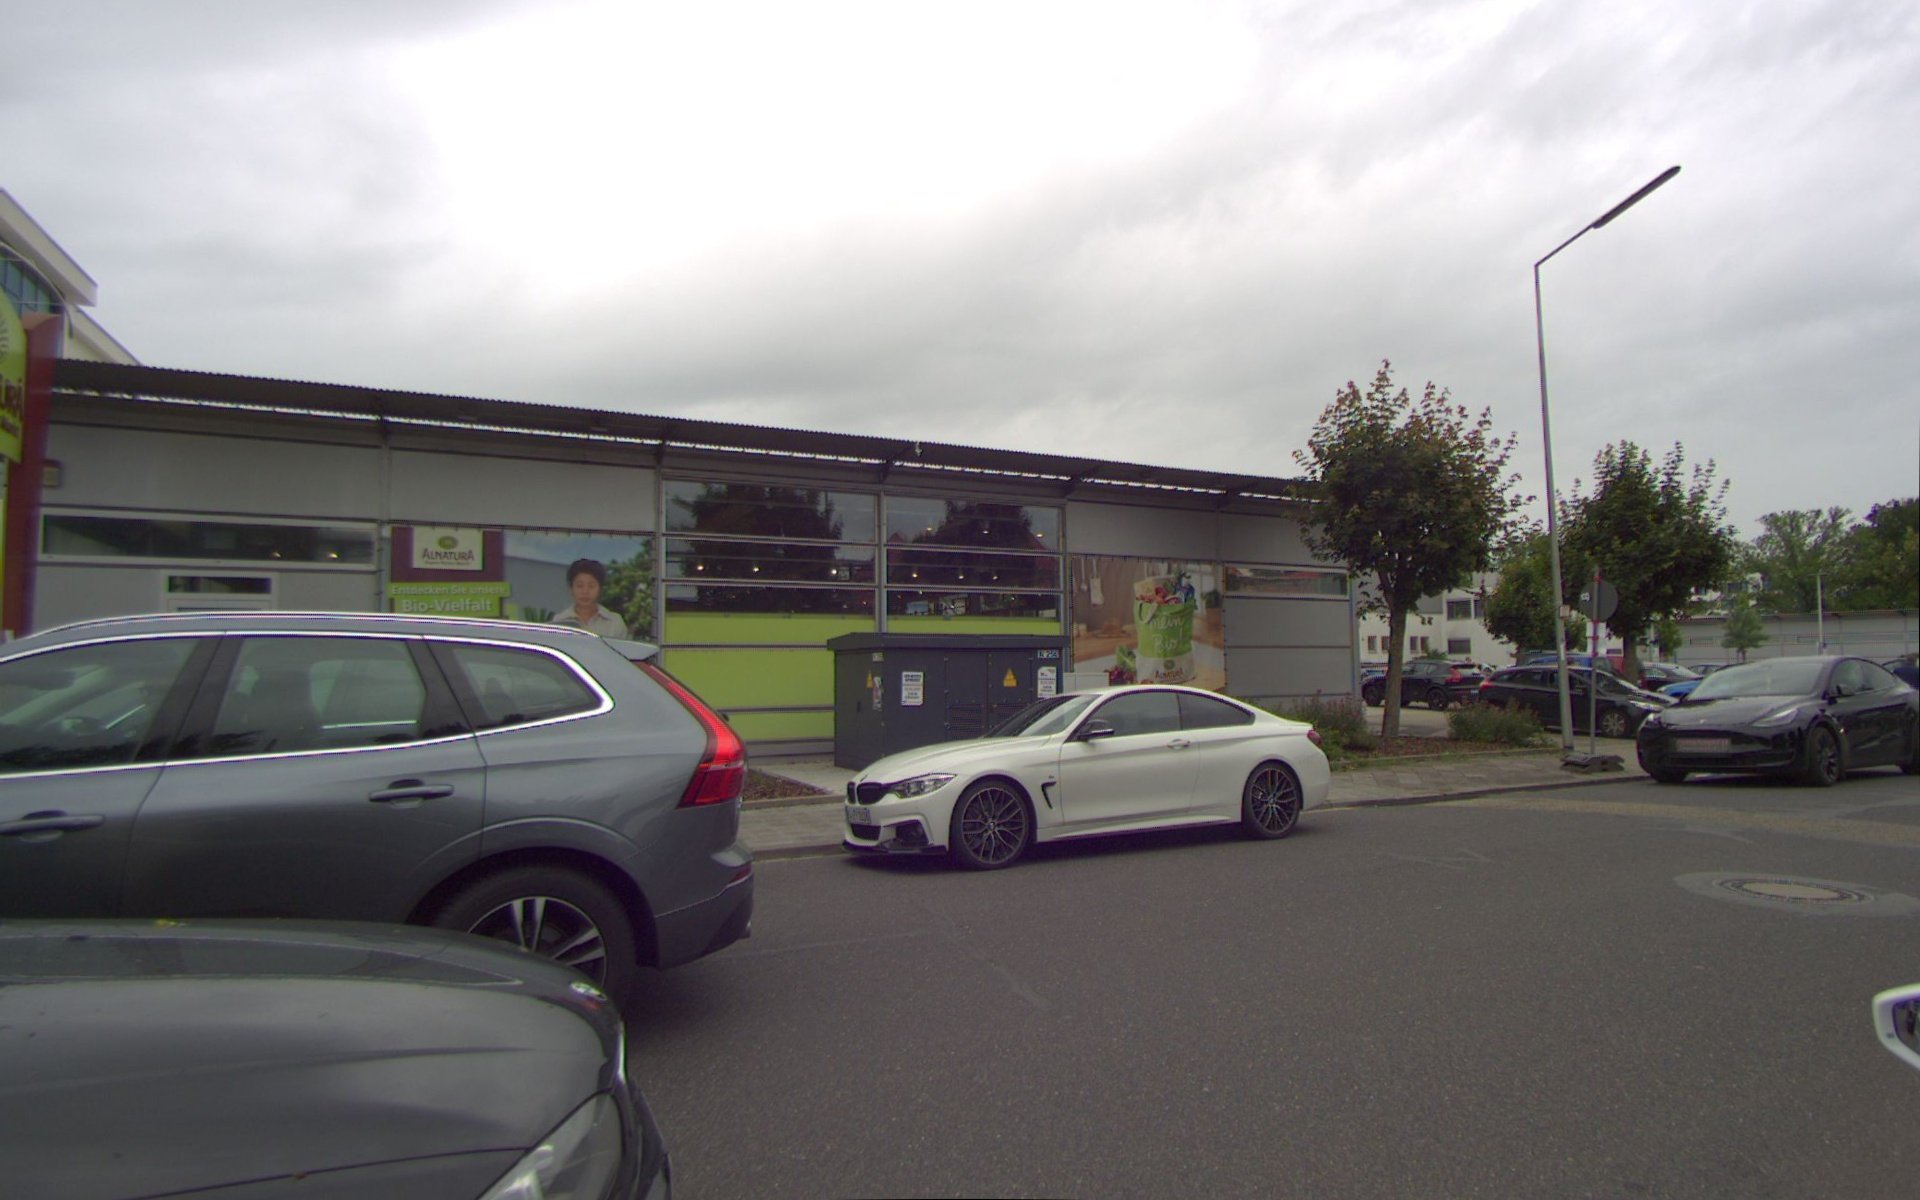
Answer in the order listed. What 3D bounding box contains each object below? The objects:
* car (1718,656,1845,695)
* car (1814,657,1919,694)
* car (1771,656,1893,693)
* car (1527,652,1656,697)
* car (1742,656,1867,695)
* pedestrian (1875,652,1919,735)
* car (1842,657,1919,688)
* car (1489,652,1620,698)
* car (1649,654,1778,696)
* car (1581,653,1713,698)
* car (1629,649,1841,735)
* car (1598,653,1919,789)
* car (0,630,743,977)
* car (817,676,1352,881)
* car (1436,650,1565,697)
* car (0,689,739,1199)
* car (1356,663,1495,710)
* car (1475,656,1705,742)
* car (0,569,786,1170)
[{"bbox_3d":[36.676,3.364,44.962,1.851,1.690,3.976,1,-4,-25],"label":"car"},{"bbox_3d":[44.342,3.643,48.741,1.851,1.690,3.976,1,-4,-25],"label":"car"},{"bbox_3d":[41.831,3.584,48.295,1.851,1.690,3.976,1,-4,-25],"label":"car"},{"bbox_3d":[25.084,2.967,40.043,1.851,1.690,3.976,1,-4,-25],"label":"car"},{"bbox_3d":[38.910,3.477,46.385,1.851,1.690,3.976,1,-4,-25],"label":"car"},{"bbox_3d":[20.257,1.992,21.503,0.689,1.737,0.772,2,-3,-30],"label":"pedestrian"},{"bbox_3d":[47.505,3.660,50.783,1.761,1.511,3.977,1,-4,-25],"label":"car"},{"bbox_3d":[22.967,2.882,38.949,1.851,1.690,3.976,1,-4,-25],"label":"car"},{"bbox_3d":[32.063,3.205,42.868,1.851,1.690,3.976,1,-4,-25],"label":"car"},{"bbox_3d":[27.568,3.024,40.440,1.851,1.690,3.976,1,-4,-25],"label":"car"},{"bbox_3d":[19.828,2.321,25.870,1.742,2.039,3.909,2,-5,-32],"label":"car"},{"bbox_3d":[10.807,1.561,13.336,4.347,1.545,1.941,2,-8,-28],"label":"car"},{"bbox_3d":[-3.918,1.149,6.444,4.665,1.712,1.862,1,-7,-25],"label":"car"},{"bbox_3d":[1.142,1.455,8.862,4.459,1.384,1.695,2,-9,-27],"label":"car"},{"bbox_3d":[20.343,2.770,37.984,1.851,1.690,3.976,1,-4,-25],"label":"car"},{"bbox_3d":[-2.507,0.829,1.170,4.086,1.376,1.739,2,-4,-28],"label":"car"},{"bbox_3d":[15.889,2.947,34.379,3.940,1.504,1.868,-4,-5,39],"label":"car"},{"bbox_3d":[13.659,2.077,22.024,1.902,1.641,3.863,1,-3,-25],"label":"car"},{"bbox_3d":[-3.071,0.840,3.802,4.434,1.705,1.928,1,-5,-25],"label":"car"}]
